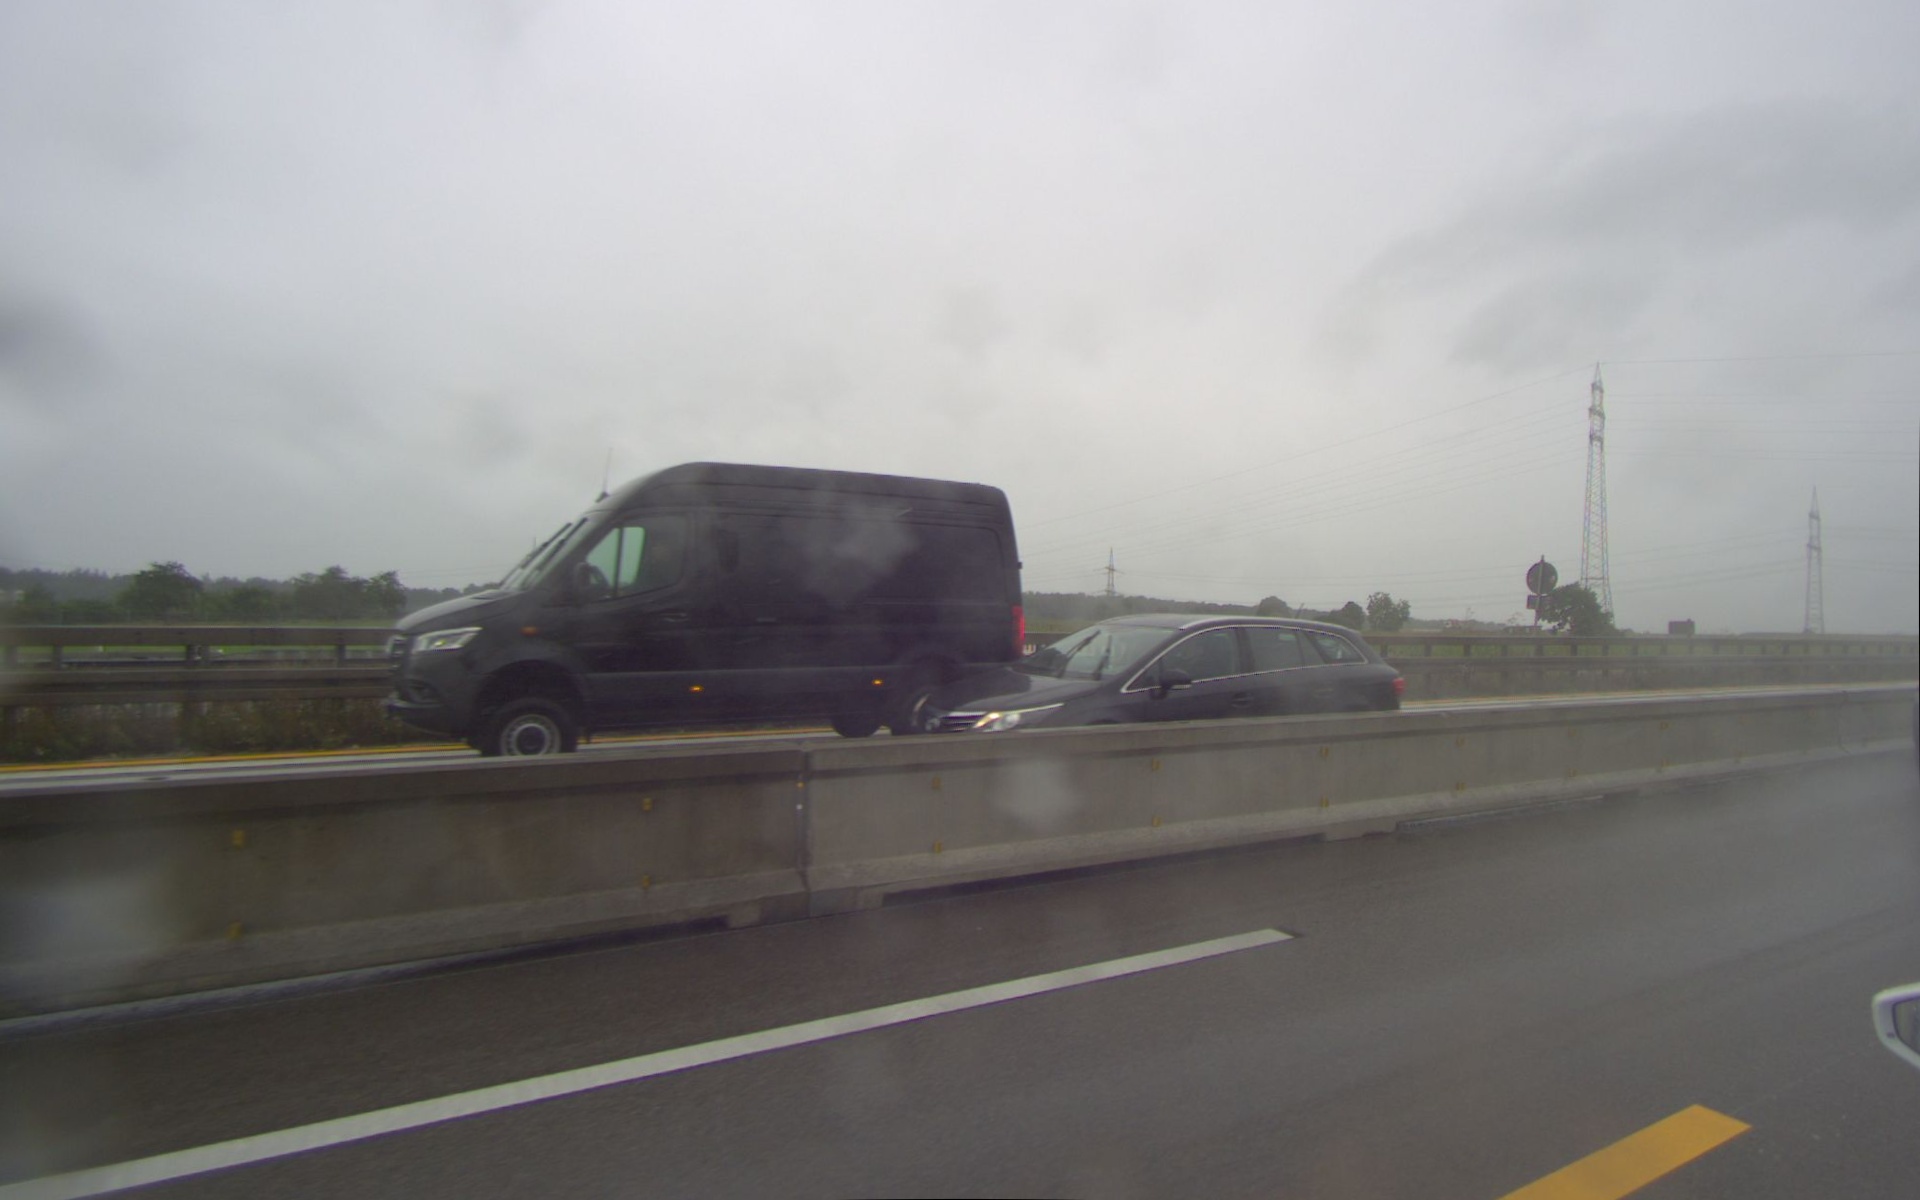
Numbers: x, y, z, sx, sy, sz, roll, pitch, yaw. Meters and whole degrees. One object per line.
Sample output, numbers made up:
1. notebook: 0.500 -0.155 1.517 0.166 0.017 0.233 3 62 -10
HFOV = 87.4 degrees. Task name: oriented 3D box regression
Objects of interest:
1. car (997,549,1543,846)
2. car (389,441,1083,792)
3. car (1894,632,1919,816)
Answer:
1. car: 2.851 0.728 8.944 4.744 2.029 1.984 1 -2 -30
2. car: -1.916 0.217 9.680 6.098 2.550 2.062 2 -2 -28
3. car: 10.919 1.222 9.521 4.789 1.619 1.693 3 -1 -30
